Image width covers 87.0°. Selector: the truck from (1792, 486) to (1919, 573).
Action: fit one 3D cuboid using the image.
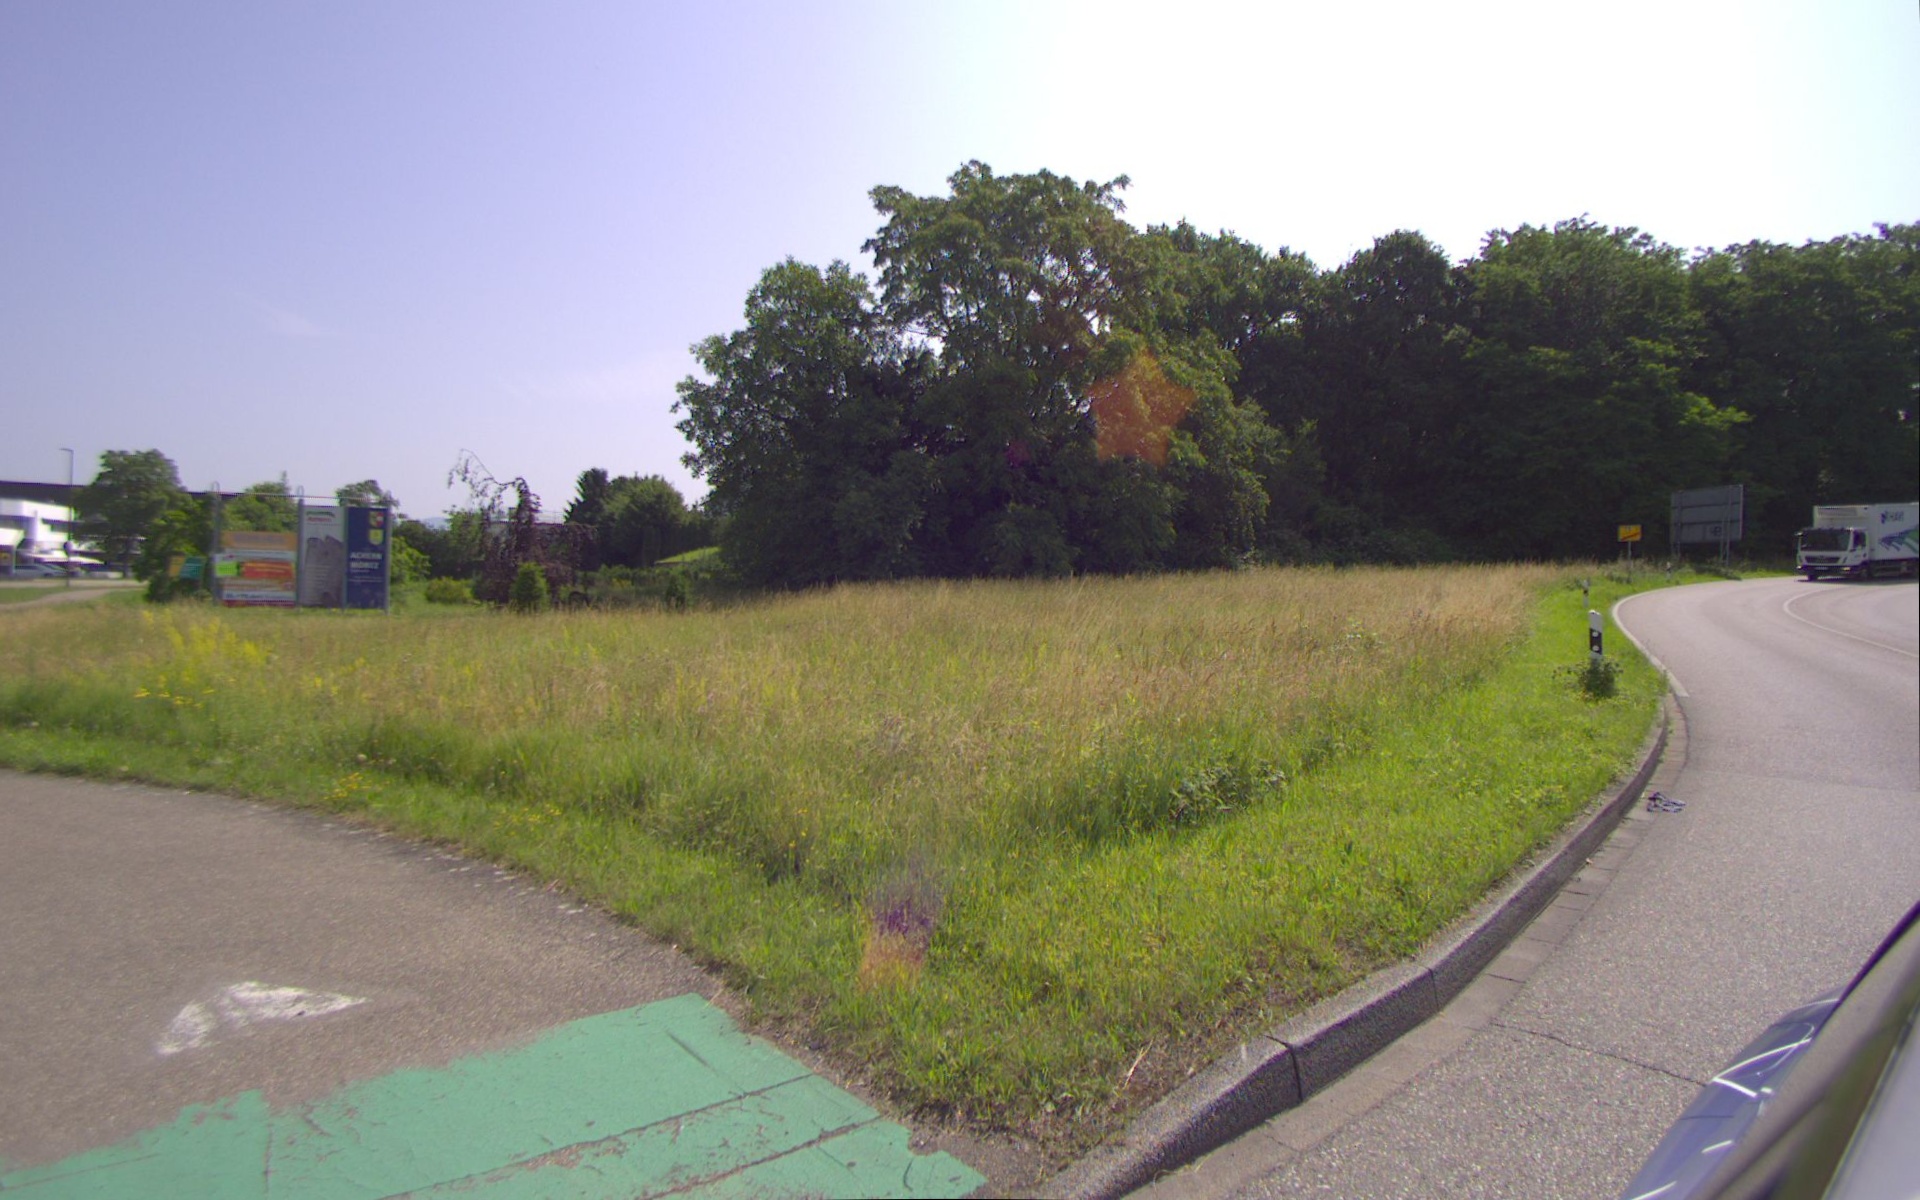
[{"bbox_3d":[44.681,-3.299,48.794,8.834,3.877,2.906,-1,0,-20],"label":"truck"}]
